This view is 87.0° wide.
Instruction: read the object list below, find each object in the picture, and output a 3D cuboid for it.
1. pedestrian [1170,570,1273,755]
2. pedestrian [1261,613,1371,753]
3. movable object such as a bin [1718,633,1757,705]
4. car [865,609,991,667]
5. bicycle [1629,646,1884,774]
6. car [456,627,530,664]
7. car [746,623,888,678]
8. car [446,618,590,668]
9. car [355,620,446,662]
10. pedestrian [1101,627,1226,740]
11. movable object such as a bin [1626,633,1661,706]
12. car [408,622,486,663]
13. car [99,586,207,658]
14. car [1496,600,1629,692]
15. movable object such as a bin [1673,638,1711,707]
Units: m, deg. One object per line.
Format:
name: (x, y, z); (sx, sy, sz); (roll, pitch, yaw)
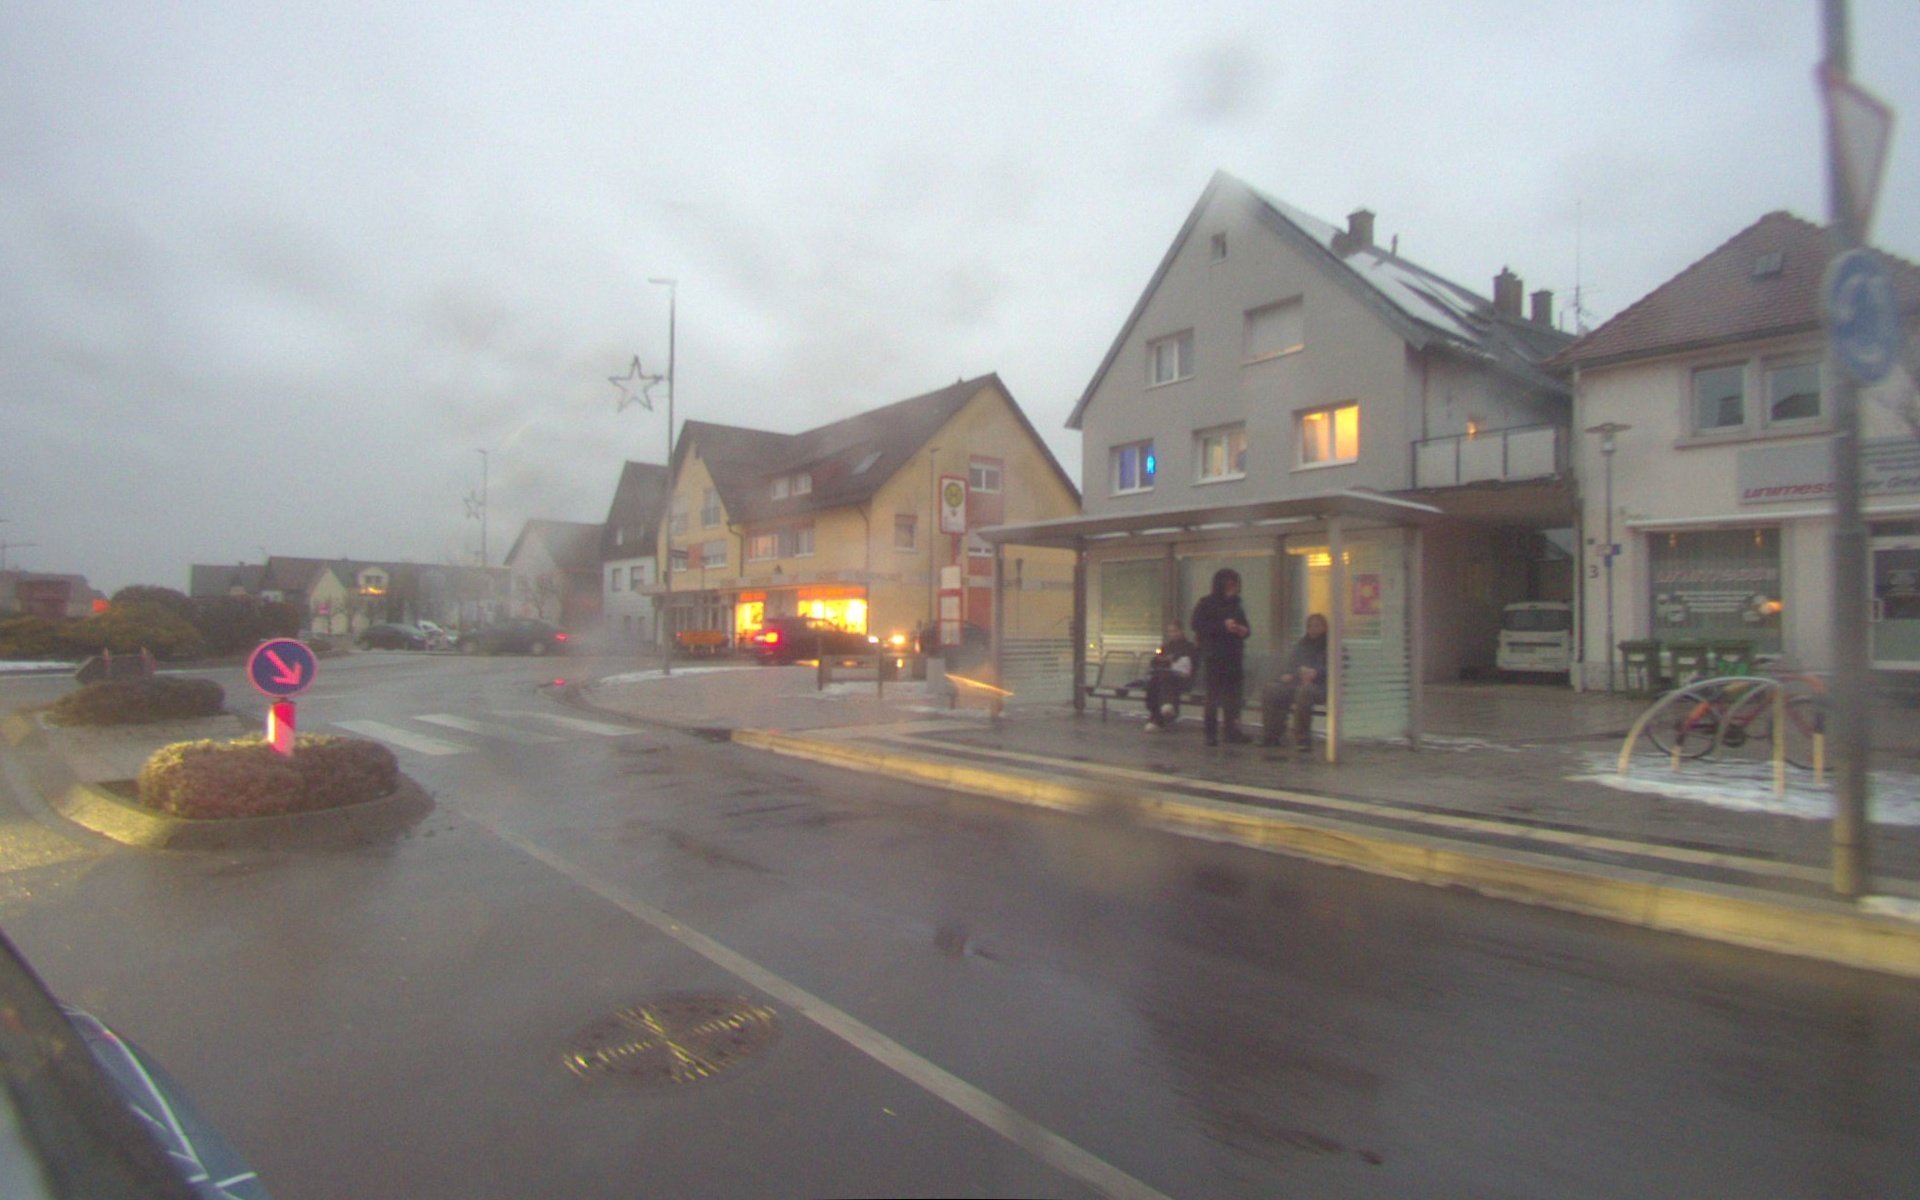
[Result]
pedestrian: (2.620, 0.602, 10.136); (0.687, 1.755, 0.740); (-2, -2, 41)
pedestrian: (3.449, 0.776, 9.801); (0.677, 1.281, 0.751); (0, -2, -44)
movable object such as a bin: (12.794, 1.128, 16.653); (0.284, 1.151, 0.454); (0, 1, -43)
car: (-1.193, 1.394, 38.409); (4.389, 2.029, 2.006); (0, 1, -32)
bicycle: (7.115, 0.939, 9.141); (0.463, 1.018, 1.744); (1, -2, -32)
car: (-26.639, 2.565, 57.761); (3.854, 1.895, 1.917); (1, 1, 28)
car: (-4.238, 1.448, 30.135); (3.833, 1.514, 1.712); (0, -1, -34)
car: (-15.617, 1.490, 35.870); (4.314, 1.617, 1.888); (1, 1, 2)
car: (-29.384, 2.105, 53.179); (3.963, 2.010, 1.962); (1, 1, 15)
pedestrian: (2.257, 0.907, 11.256); (0.976, 1.167, 0.903); (0, -3, -39)
movable object such as a bin: (11.907, 1.202, 17.632); (0.284, 1.219, 0.454); (0, 1, -43)
car: (-28.144, 2.307, 55.522); (3.953, 2.029, 1.908); (1, 1, 28)
car: (-24.455, 0.598, 30.829); (2.024, 2.002, 4.551); (0, 1, -32)
car: (13.316, 0.978, 22.305); (3.373, 1.867, 1.516); (2, -2, -40)
movable object such as a bin: (12.374, 1.218, 17.110); (0.284, 1.129, 0.454); (0, 1, -43)
